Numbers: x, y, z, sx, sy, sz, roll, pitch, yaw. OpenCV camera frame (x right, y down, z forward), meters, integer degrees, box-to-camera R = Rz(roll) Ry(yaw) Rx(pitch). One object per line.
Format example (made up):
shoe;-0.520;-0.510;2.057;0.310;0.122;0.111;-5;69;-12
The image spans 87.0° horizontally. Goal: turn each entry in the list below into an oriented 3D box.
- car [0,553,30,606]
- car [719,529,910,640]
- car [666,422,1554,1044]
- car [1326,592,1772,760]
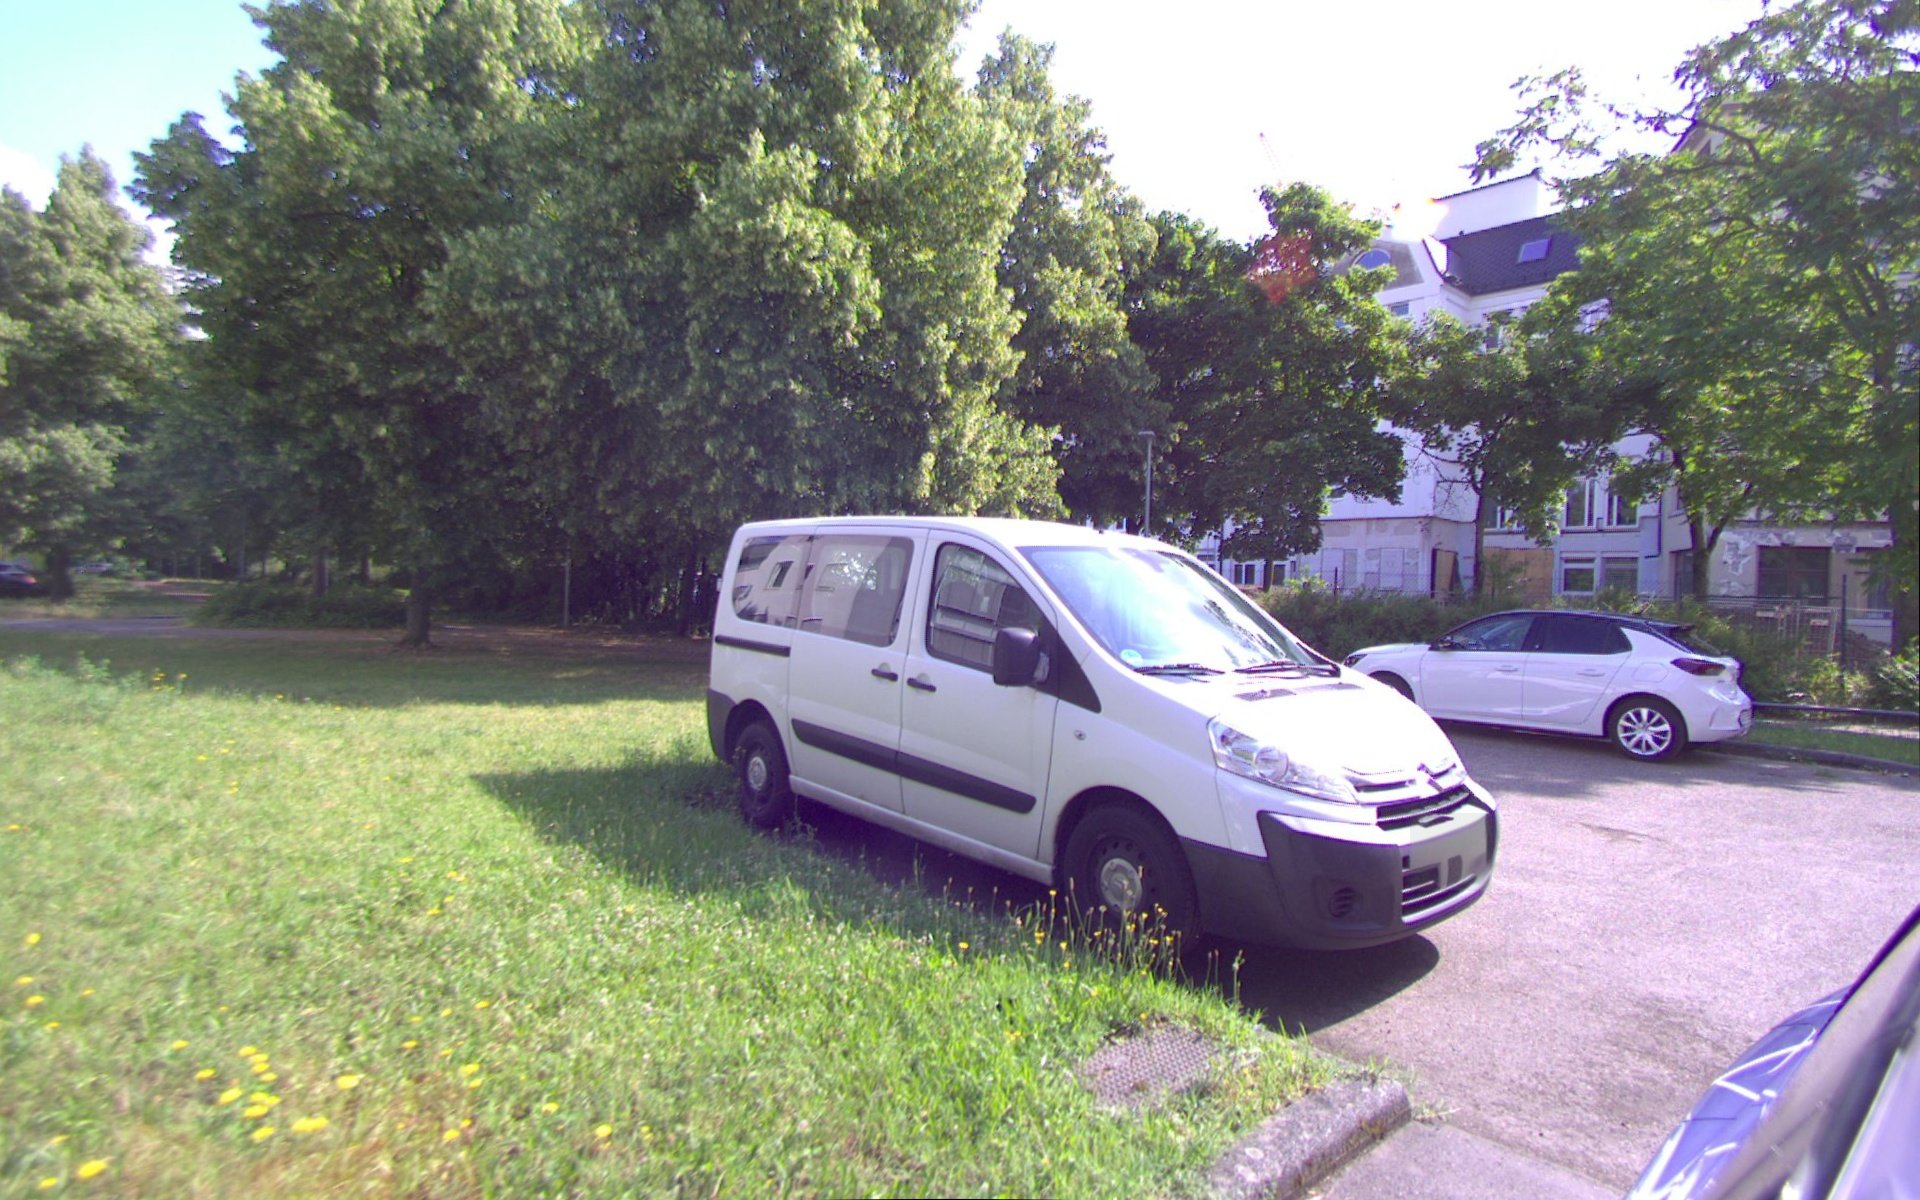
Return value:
car;-38.806;-0.854;39.234;3.929;2.039;1.997;2;0;-41
car;-4.319;-0.440;31.659;1.984;3.086;6.898;-2;-1;31
car;0.307;0.436;5.781;1.965;1.989;4.947;-1;0;-40
car;6.292;0.685;11.104;1.730;1.437;3.906;-3;2;-44
